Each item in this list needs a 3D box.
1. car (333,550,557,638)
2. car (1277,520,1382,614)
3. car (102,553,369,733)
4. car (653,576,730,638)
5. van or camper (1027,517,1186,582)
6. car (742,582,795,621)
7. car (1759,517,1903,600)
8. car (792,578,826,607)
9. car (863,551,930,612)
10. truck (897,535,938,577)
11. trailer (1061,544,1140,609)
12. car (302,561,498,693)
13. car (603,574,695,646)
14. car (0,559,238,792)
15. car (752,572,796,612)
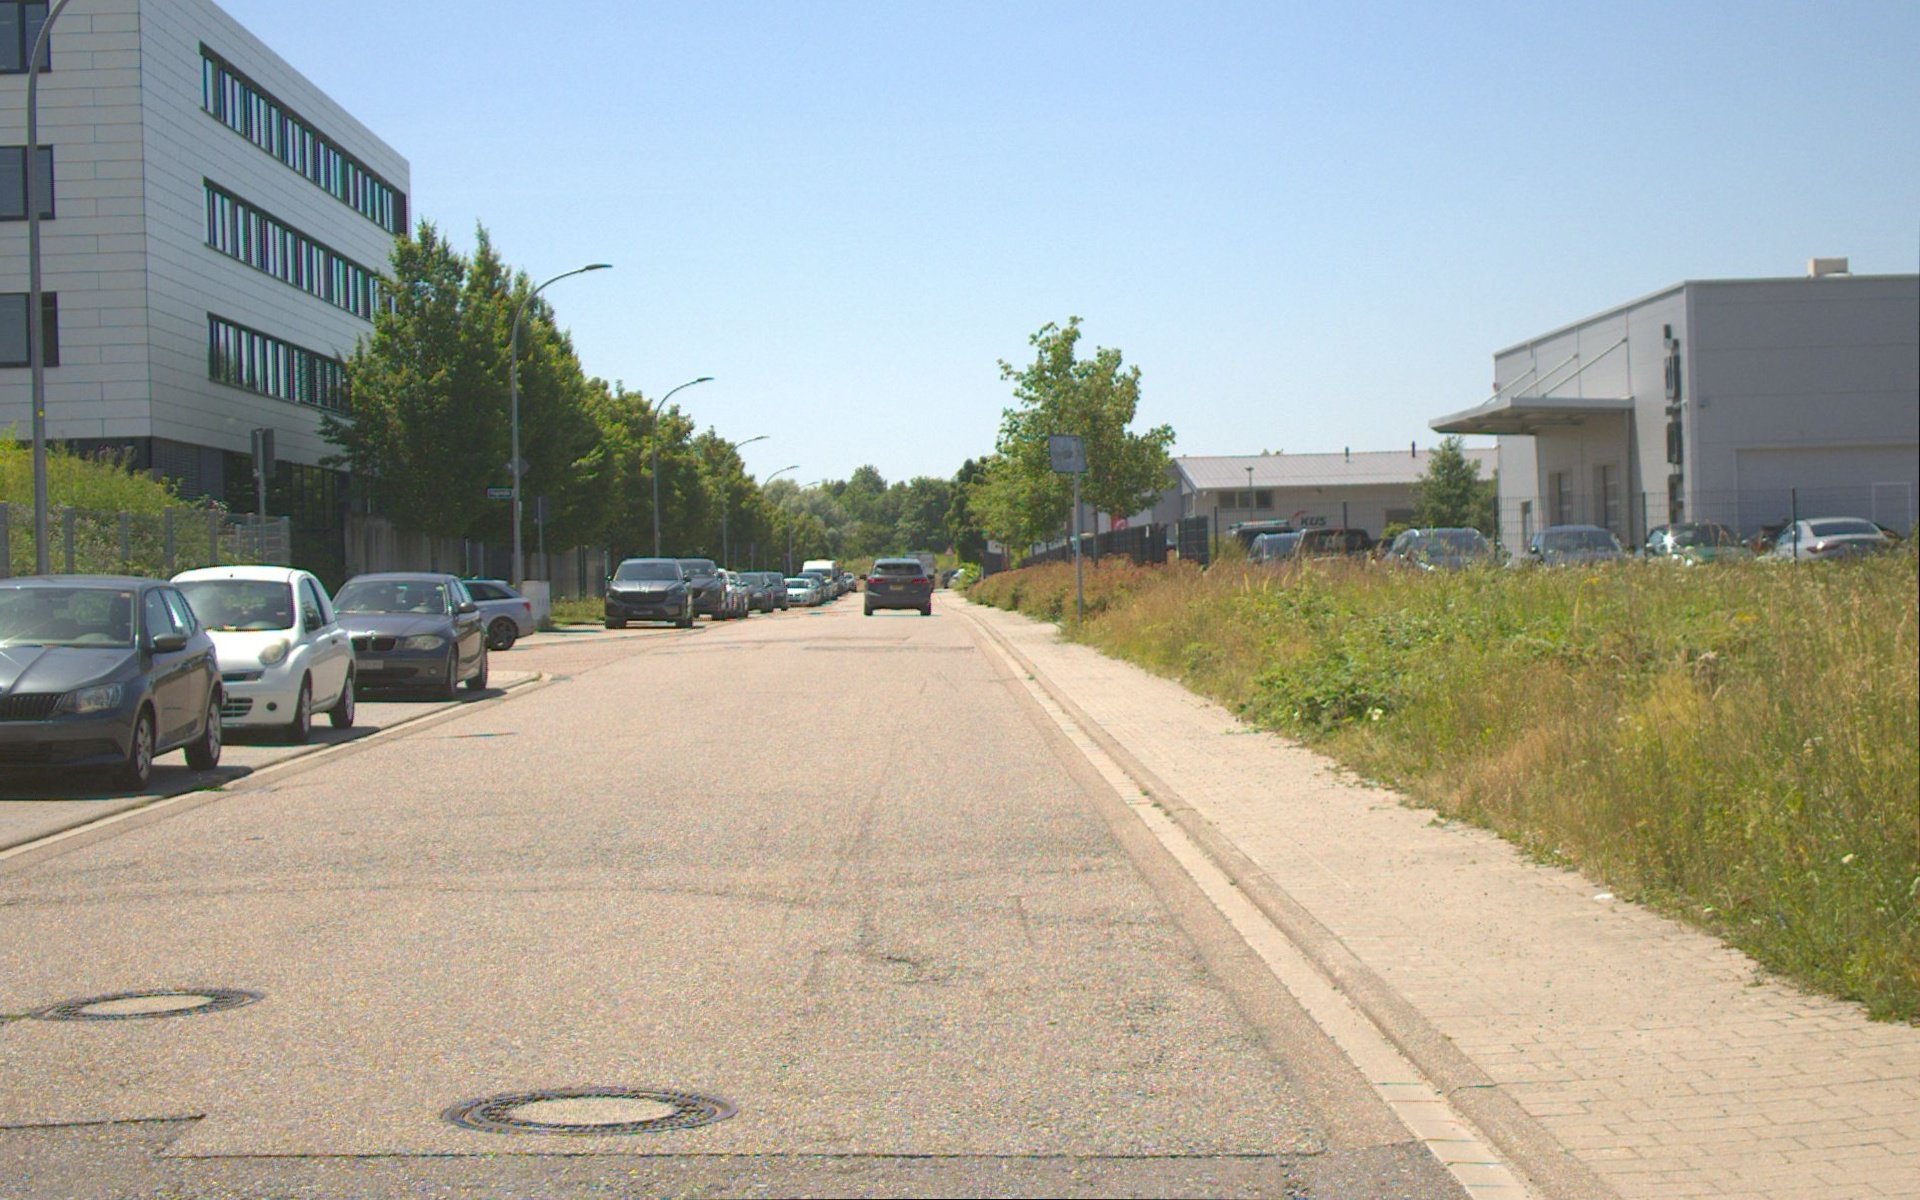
[{"bbox_3d":[-9.670,-0.134,64.799,1.774,1.582,4.067,-1,0,38],"label":"car"},{"bbox_3d":[6.460,-0.562,60.319,1.466,1.568,2.662,-2,0,-1],"label":"car"},{"bbox_3d":[-6.467,0.359,31.037,1.674,1.525,3.758,0,0,-1],"label":"car"},{"bbox_3d":[-7.231,0.175,92.878,1.771,1.618,4.582,0,0,-1],"label":"car"},{"bbox_3d":[6.386,-2.200,150.462,6.757,2.576,2.636,-2,0,-1],"label":"van or camper"},{"bbox_3d":[-7.091,0.059,127.434,1.771,1.426,4.201,0,0,-1],"label":"car"},{"bbox_3d":[15.444,-0.721,61.072,1.514,1.392,3.541,-2,0,-2],"label":"car"},{"bbox_3d":[-7.760,-0.402,176.322,1.720,1.471,3.858,-1,0,-3],"label":"car"},{"bbox_3d":[-1.740,-0.509,94.566,1.789,1.618,3.809,1,0,-1],"label":"car"},{"bbox_3d":[-3.072,-3.200,250.113,2.933,2.964,6.419,1,0,0],"label":"truck"},{"bbox_3d":[5.487,-0.922,134.210,2.822,2.395,1.420,-3,0,-5],"label":"trailer"},{"bbox_3d":[-6.450,0.294,39.934,1.674,1.445,4.069,0,0,-1],"label":"car"},{"bbox_3d":[-7.164,0.212,79.528,1.771,1.582,4.481,-1,0,-1],"label":"car"},{"bbox_3d":[-6.363,0.490,24.472,1.674,1.525,3.910,0,0,-1],"label":"car"},{"bbox_3d":[-7.813,-0.337,144.770,1.770,1.606,4.248,-1,0,-2],"label":"car"}]
